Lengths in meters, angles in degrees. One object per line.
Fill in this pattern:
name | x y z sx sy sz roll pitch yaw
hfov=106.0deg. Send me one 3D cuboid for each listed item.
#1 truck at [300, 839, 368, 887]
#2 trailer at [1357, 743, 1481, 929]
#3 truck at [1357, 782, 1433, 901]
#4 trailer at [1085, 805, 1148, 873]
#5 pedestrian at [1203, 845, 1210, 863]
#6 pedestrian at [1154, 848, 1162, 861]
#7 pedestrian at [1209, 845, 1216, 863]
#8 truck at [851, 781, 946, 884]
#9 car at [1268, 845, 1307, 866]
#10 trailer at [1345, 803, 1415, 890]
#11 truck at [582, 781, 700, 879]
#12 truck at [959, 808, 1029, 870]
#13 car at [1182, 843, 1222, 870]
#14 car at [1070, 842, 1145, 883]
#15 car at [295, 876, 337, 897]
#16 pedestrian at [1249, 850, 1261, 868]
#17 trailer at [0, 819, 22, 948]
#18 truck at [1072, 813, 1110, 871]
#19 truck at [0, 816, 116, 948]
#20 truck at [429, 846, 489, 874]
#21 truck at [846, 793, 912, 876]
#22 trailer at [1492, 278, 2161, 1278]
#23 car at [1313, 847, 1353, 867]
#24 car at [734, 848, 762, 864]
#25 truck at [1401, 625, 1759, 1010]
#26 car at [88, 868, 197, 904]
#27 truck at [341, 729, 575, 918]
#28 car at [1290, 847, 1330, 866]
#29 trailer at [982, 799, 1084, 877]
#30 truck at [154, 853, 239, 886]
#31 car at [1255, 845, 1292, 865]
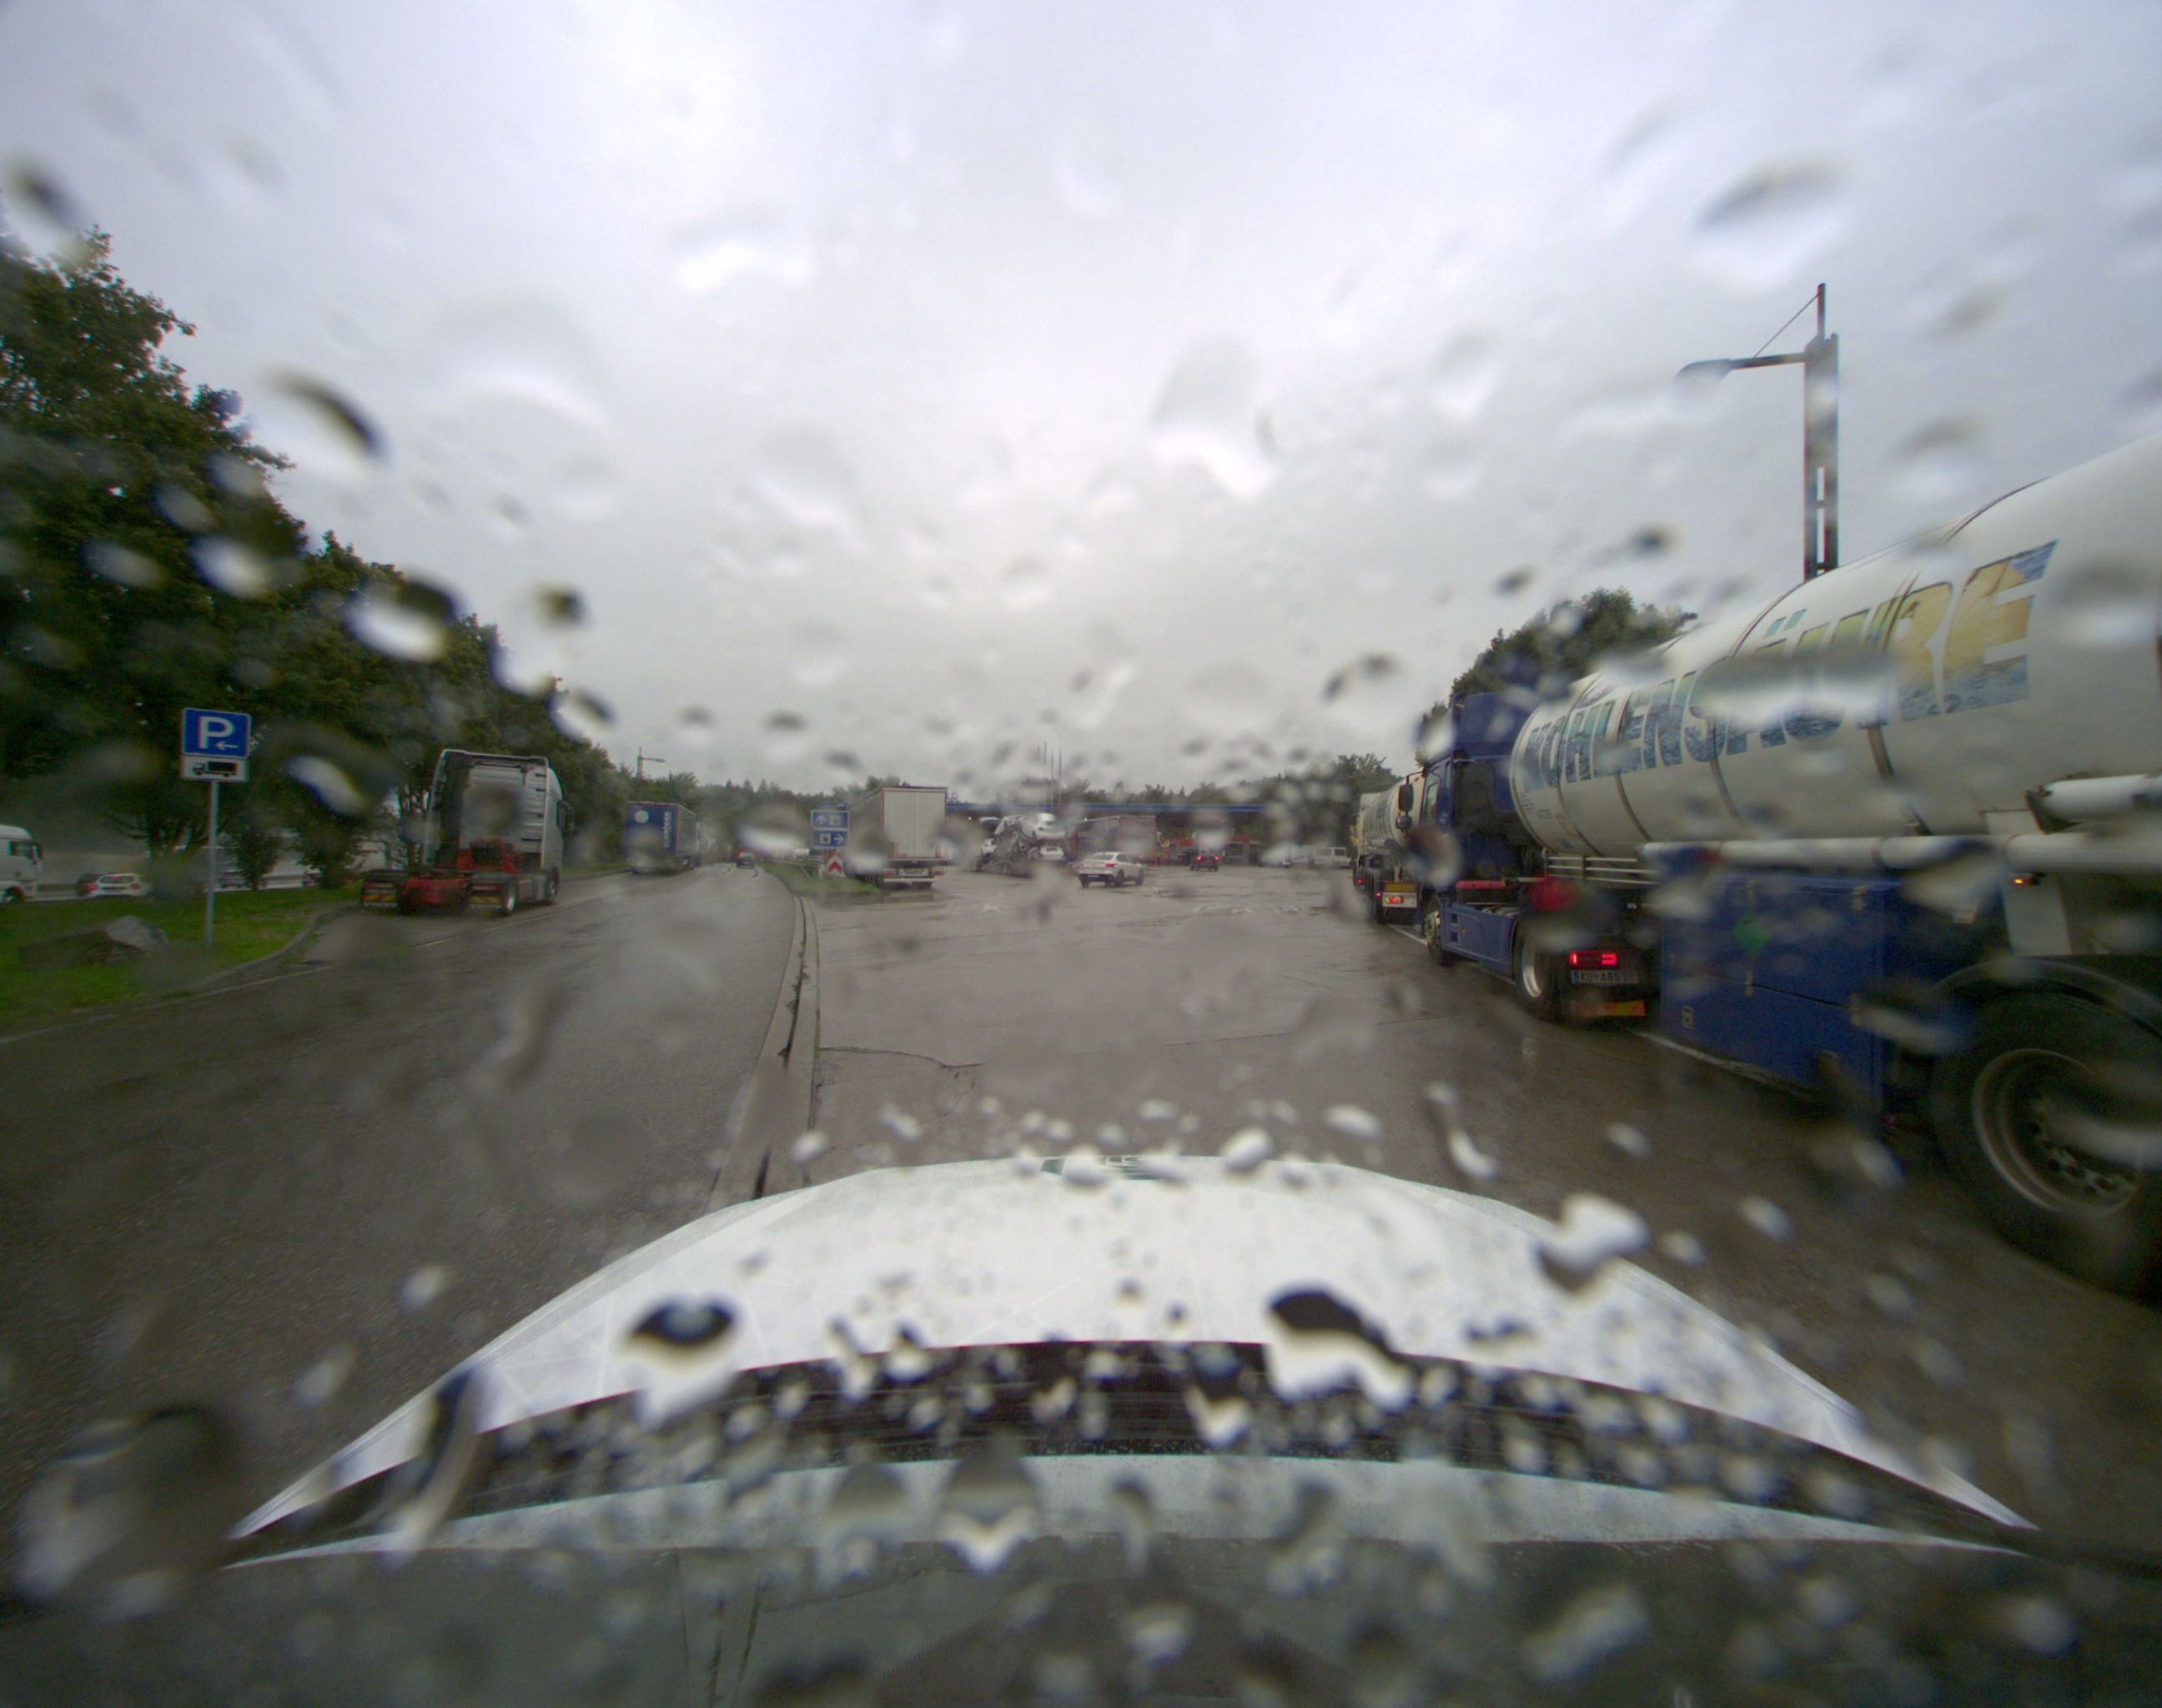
truck | -56.237 0.704 61.444 2.517 3.365 4.708 4 -3 -29
trailer | 8.013 -0.347 20.251 2.114 3.440 10.301 0 0 18
truck | 10.149 -0.385 26.630 2.129 3.513 4.668 0 0 19
trailer | 2.413 -0.951 59.630 1.996 4.559 9.764 1 0 -13
pedestrian | 14.609 -0.029 94.800 0.584 2.014 0.638 3 -3 3
pedestrian | 9.216 0.017 97.559 0.714 1.521 0.745 2 -3 12
pedestrian | 15.097 -0.038 93.556 0.665 2.014 0.745 2 -3 12
truck | -8.573 -0.873 36.849 2.380 3.874 12.365 0 0 -21
car | 20.244 0.128 79.857 2.093 1.937 4.218 0 0 39
trailer | 13.112 -0.308 35.369 2.163 3.392 7.608 0 0 25
truck | -26.527 -1.293 49.913 4.808 5.305 10.993 0 0 -21
truck | -6.523 -1.037 59.881 3.244 4.188 8.389 1 0 -19
car | 9.997 0.238 67.684 1.994 2.014 3.984 3 -3 -11
car | 1.236 0.391 35.996 1.976 1.679 4.022 1 -1 23
car | -72.609 3.057 77.370 1.823 1.768 3.965 -1 0 -27
pedestrian | 18.062 0.506 84.620 0.944 1.920 1.095 0 0 31
trailer | -32.129 0.779 18.910 2.909 3.983 14.002 -1 -1 -24
truck | 0.749 -0.911 66.723 1.990 4.549 4.773 1 -1 -13
truck | -35.534 0.929 26.592 2.886 4.053 5.886 -1 -1 -24
truck | -75.289 0.688 98.717 5.264 3.003 1.986 4 -1 -22
truck | -10.486 -0.930 41.782 2.380 3.874 6.961 0 0 -21
trailer | 4.611 -0.240 3.501 1.969 3.224 10.346 1 0 9
car | 22.798 0.267 73.586 2.093 1.728 4.025 0 0 39
car | -31.559 0.165 77.236 1.881 1.461 3.980 1 -1 -14
truck | 5.555 -0.345 9.949 2.041 3.531 4.757 1 0 9
car | -45.197 1.507 39.343 1.918 1.550 3.968 -1 0 -24
truck | -14.999 -0.643 20.274 2.926 3.904 6.272 0 0 -21
car | 21.410 0.244 76.044 2.093 1.728 4.025 0 0 39
trailer | -3.273 -0.924 50.487 3.226 4.189 11.455 1 0 -19
truck | -98.593 1.660 90.991 2.782 3.505 8.628 0 0 -20
car | 19.916 0.095 83.970 2.093 1.937 4.218 0 0 39
